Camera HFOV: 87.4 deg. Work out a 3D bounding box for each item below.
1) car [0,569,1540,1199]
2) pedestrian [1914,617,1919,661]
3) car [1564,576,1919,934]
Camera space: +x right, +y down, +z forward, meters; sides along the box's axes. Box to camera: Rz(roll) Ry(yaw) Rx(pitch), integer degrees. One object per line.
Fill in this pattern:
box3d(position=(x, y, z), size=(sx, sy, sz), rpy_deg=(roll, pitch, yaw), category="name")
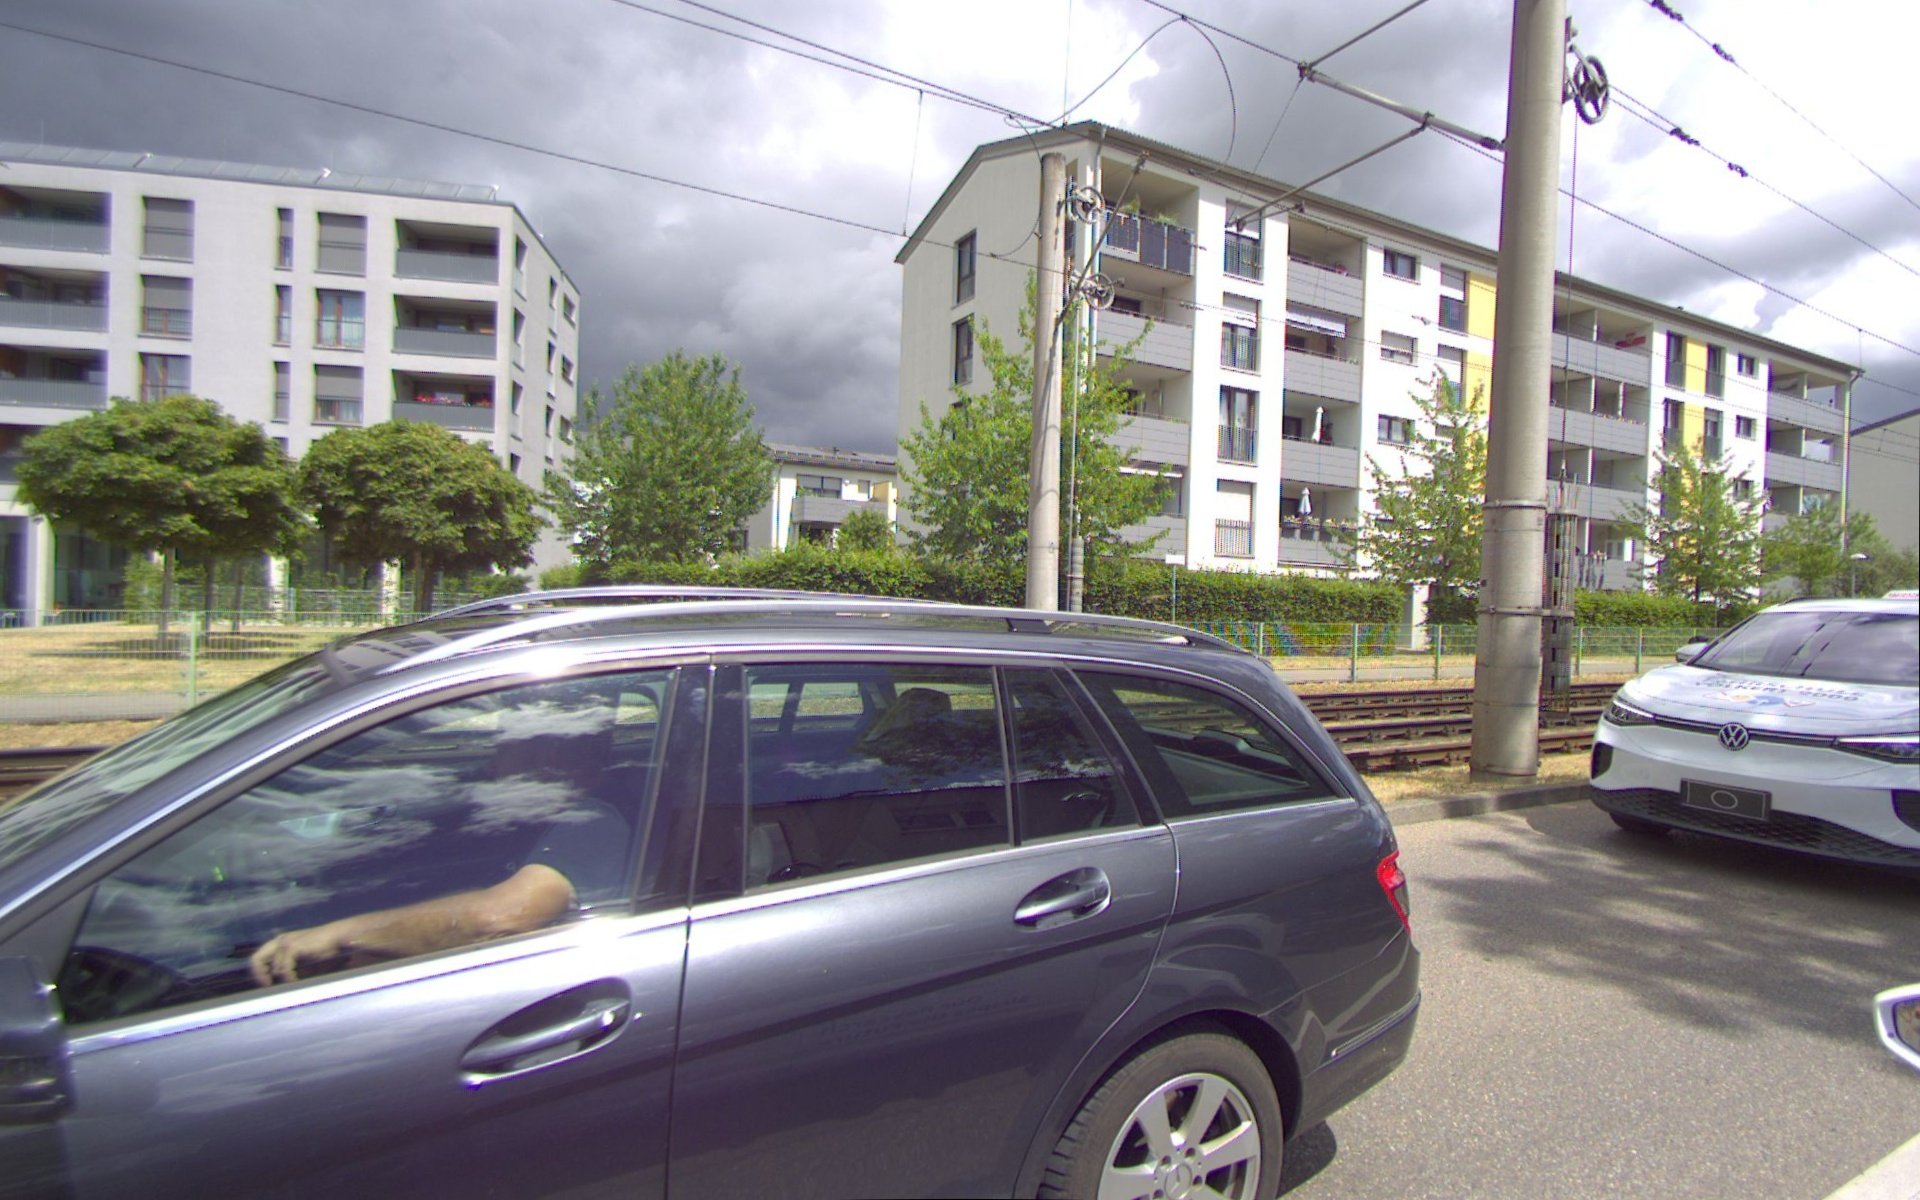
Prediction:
box3d(position=(-0.945, 0.701, 2.184), size=(4.411, 1.465, 1.803), rpy_deg=(1, 1, -29), category="car")
box3d(position=(33.377, 1.356, 34.370), size=(0.984, 1.503, 0.792), rpy_deg=(1, 1, -29), category="pedestrian")
box3d(position=(6.125, 0.775, 6.591), size=(4.383, 1.713, 1.848), rpy_deg=(1, 1, -31), category="car")
